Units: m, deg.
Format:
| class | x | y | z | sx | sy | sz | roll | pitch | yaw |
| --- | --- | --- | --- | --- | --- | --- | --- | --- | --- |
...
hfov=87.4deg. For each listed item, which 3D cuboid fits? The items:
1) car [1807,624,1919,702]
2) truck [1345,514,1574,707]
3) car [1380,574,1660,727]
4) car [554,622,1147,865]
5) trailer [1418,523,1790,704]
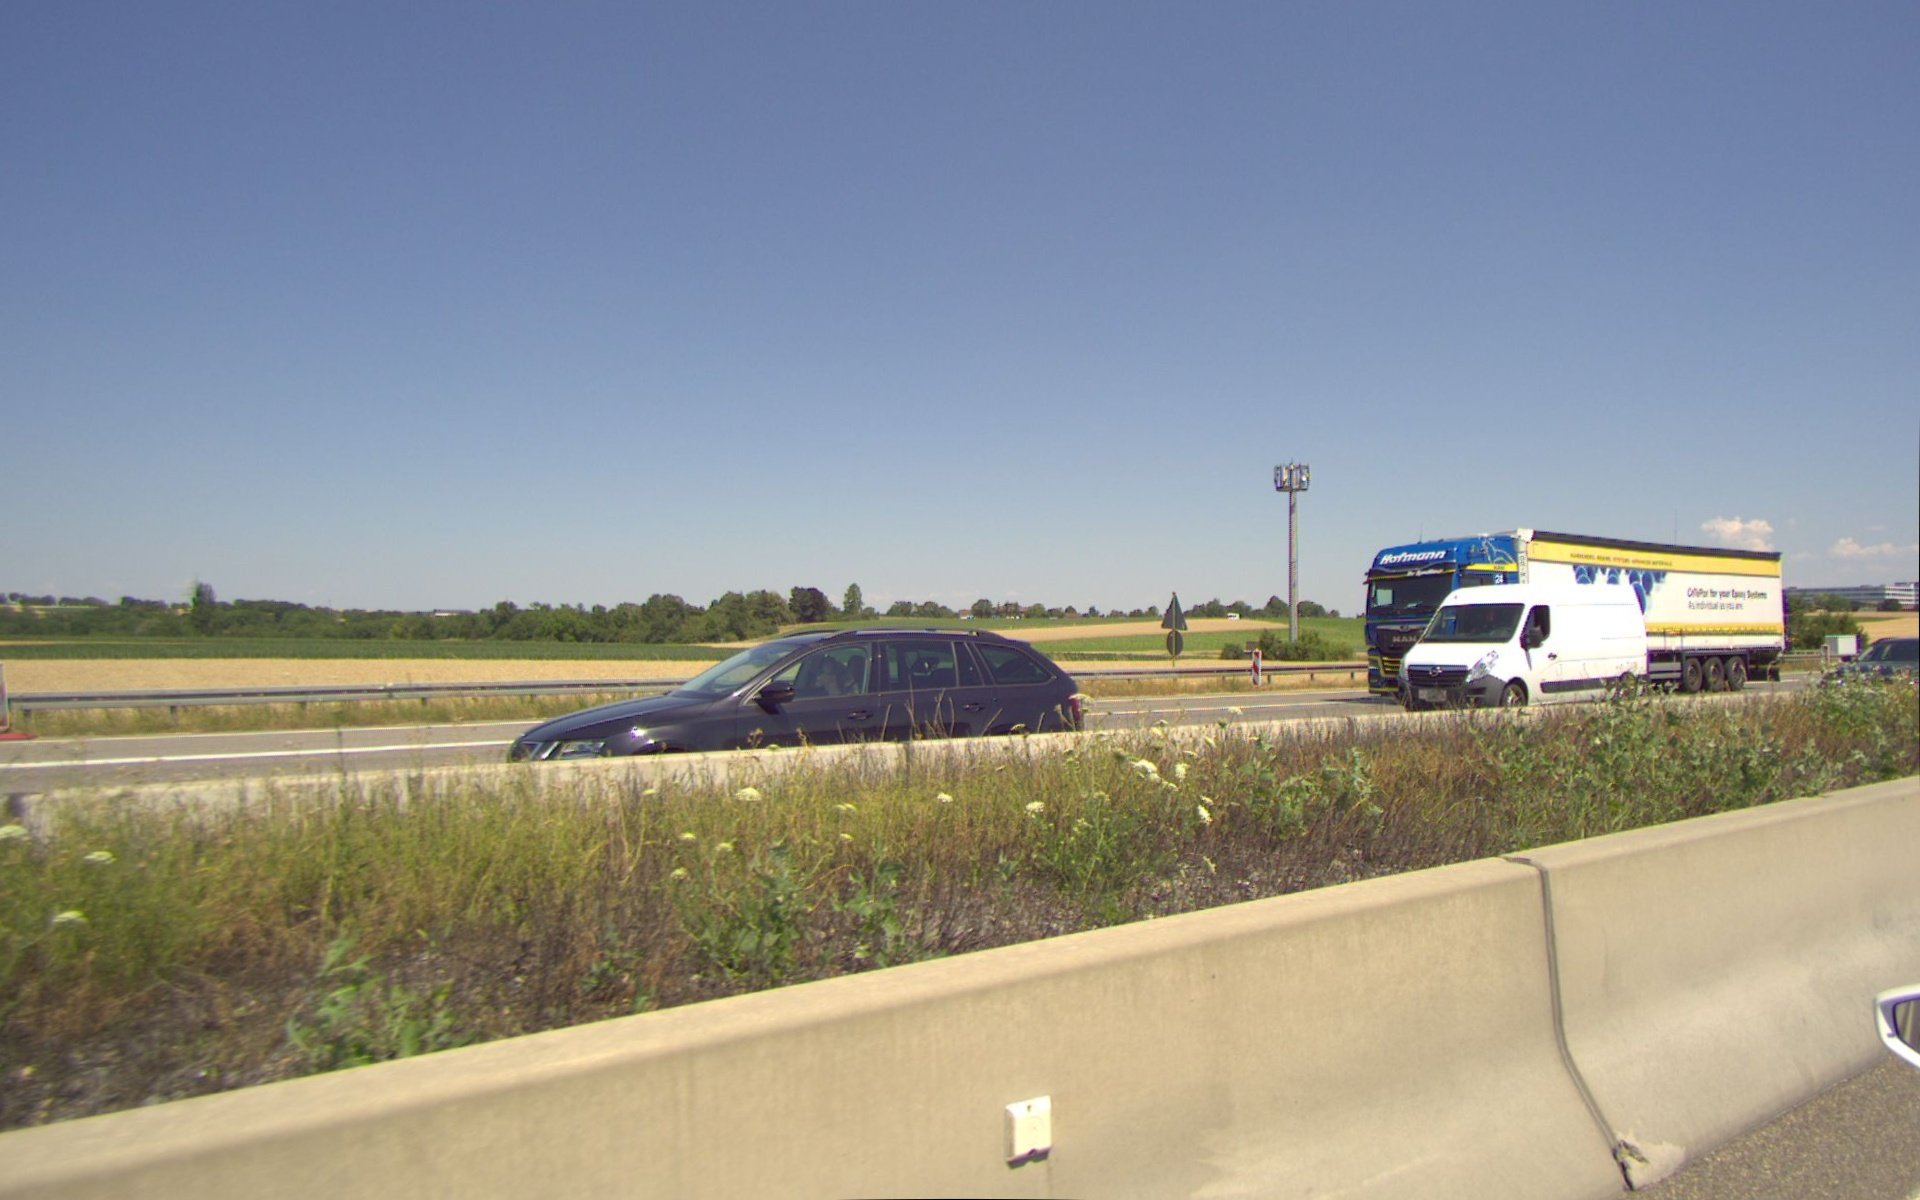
| class | x | y | z | sx | sy | sz | roll | pitch | yaw |
| --- | --- | --- | --- | --- | --- | --- | --- | --- | --- |
| car | 18.951 | 1.227 | 19.935 | 4.873 | 1.353 | 1.770 | 2 | -1 | -31 |
| truck | 12.017 | 0.304 | 24.189 | 4.785 | 4.182 | 2.796 | 1 | -2 | -31 |
| car | 10.705 | 0.906 | 19.053 | 5.745 | 2.534 | 2.037 | 1 | -2 | -31 |
| car | -0.736 | 0.938 | 8.034 | 4.480 | 1.488 | 1.590 | 1 | -2 | -31 |
| trailer | 18.367 | 0.447 | 27.989 | 13.966 | 4.182 | 2.796 | 1 | -2 | -31 |
